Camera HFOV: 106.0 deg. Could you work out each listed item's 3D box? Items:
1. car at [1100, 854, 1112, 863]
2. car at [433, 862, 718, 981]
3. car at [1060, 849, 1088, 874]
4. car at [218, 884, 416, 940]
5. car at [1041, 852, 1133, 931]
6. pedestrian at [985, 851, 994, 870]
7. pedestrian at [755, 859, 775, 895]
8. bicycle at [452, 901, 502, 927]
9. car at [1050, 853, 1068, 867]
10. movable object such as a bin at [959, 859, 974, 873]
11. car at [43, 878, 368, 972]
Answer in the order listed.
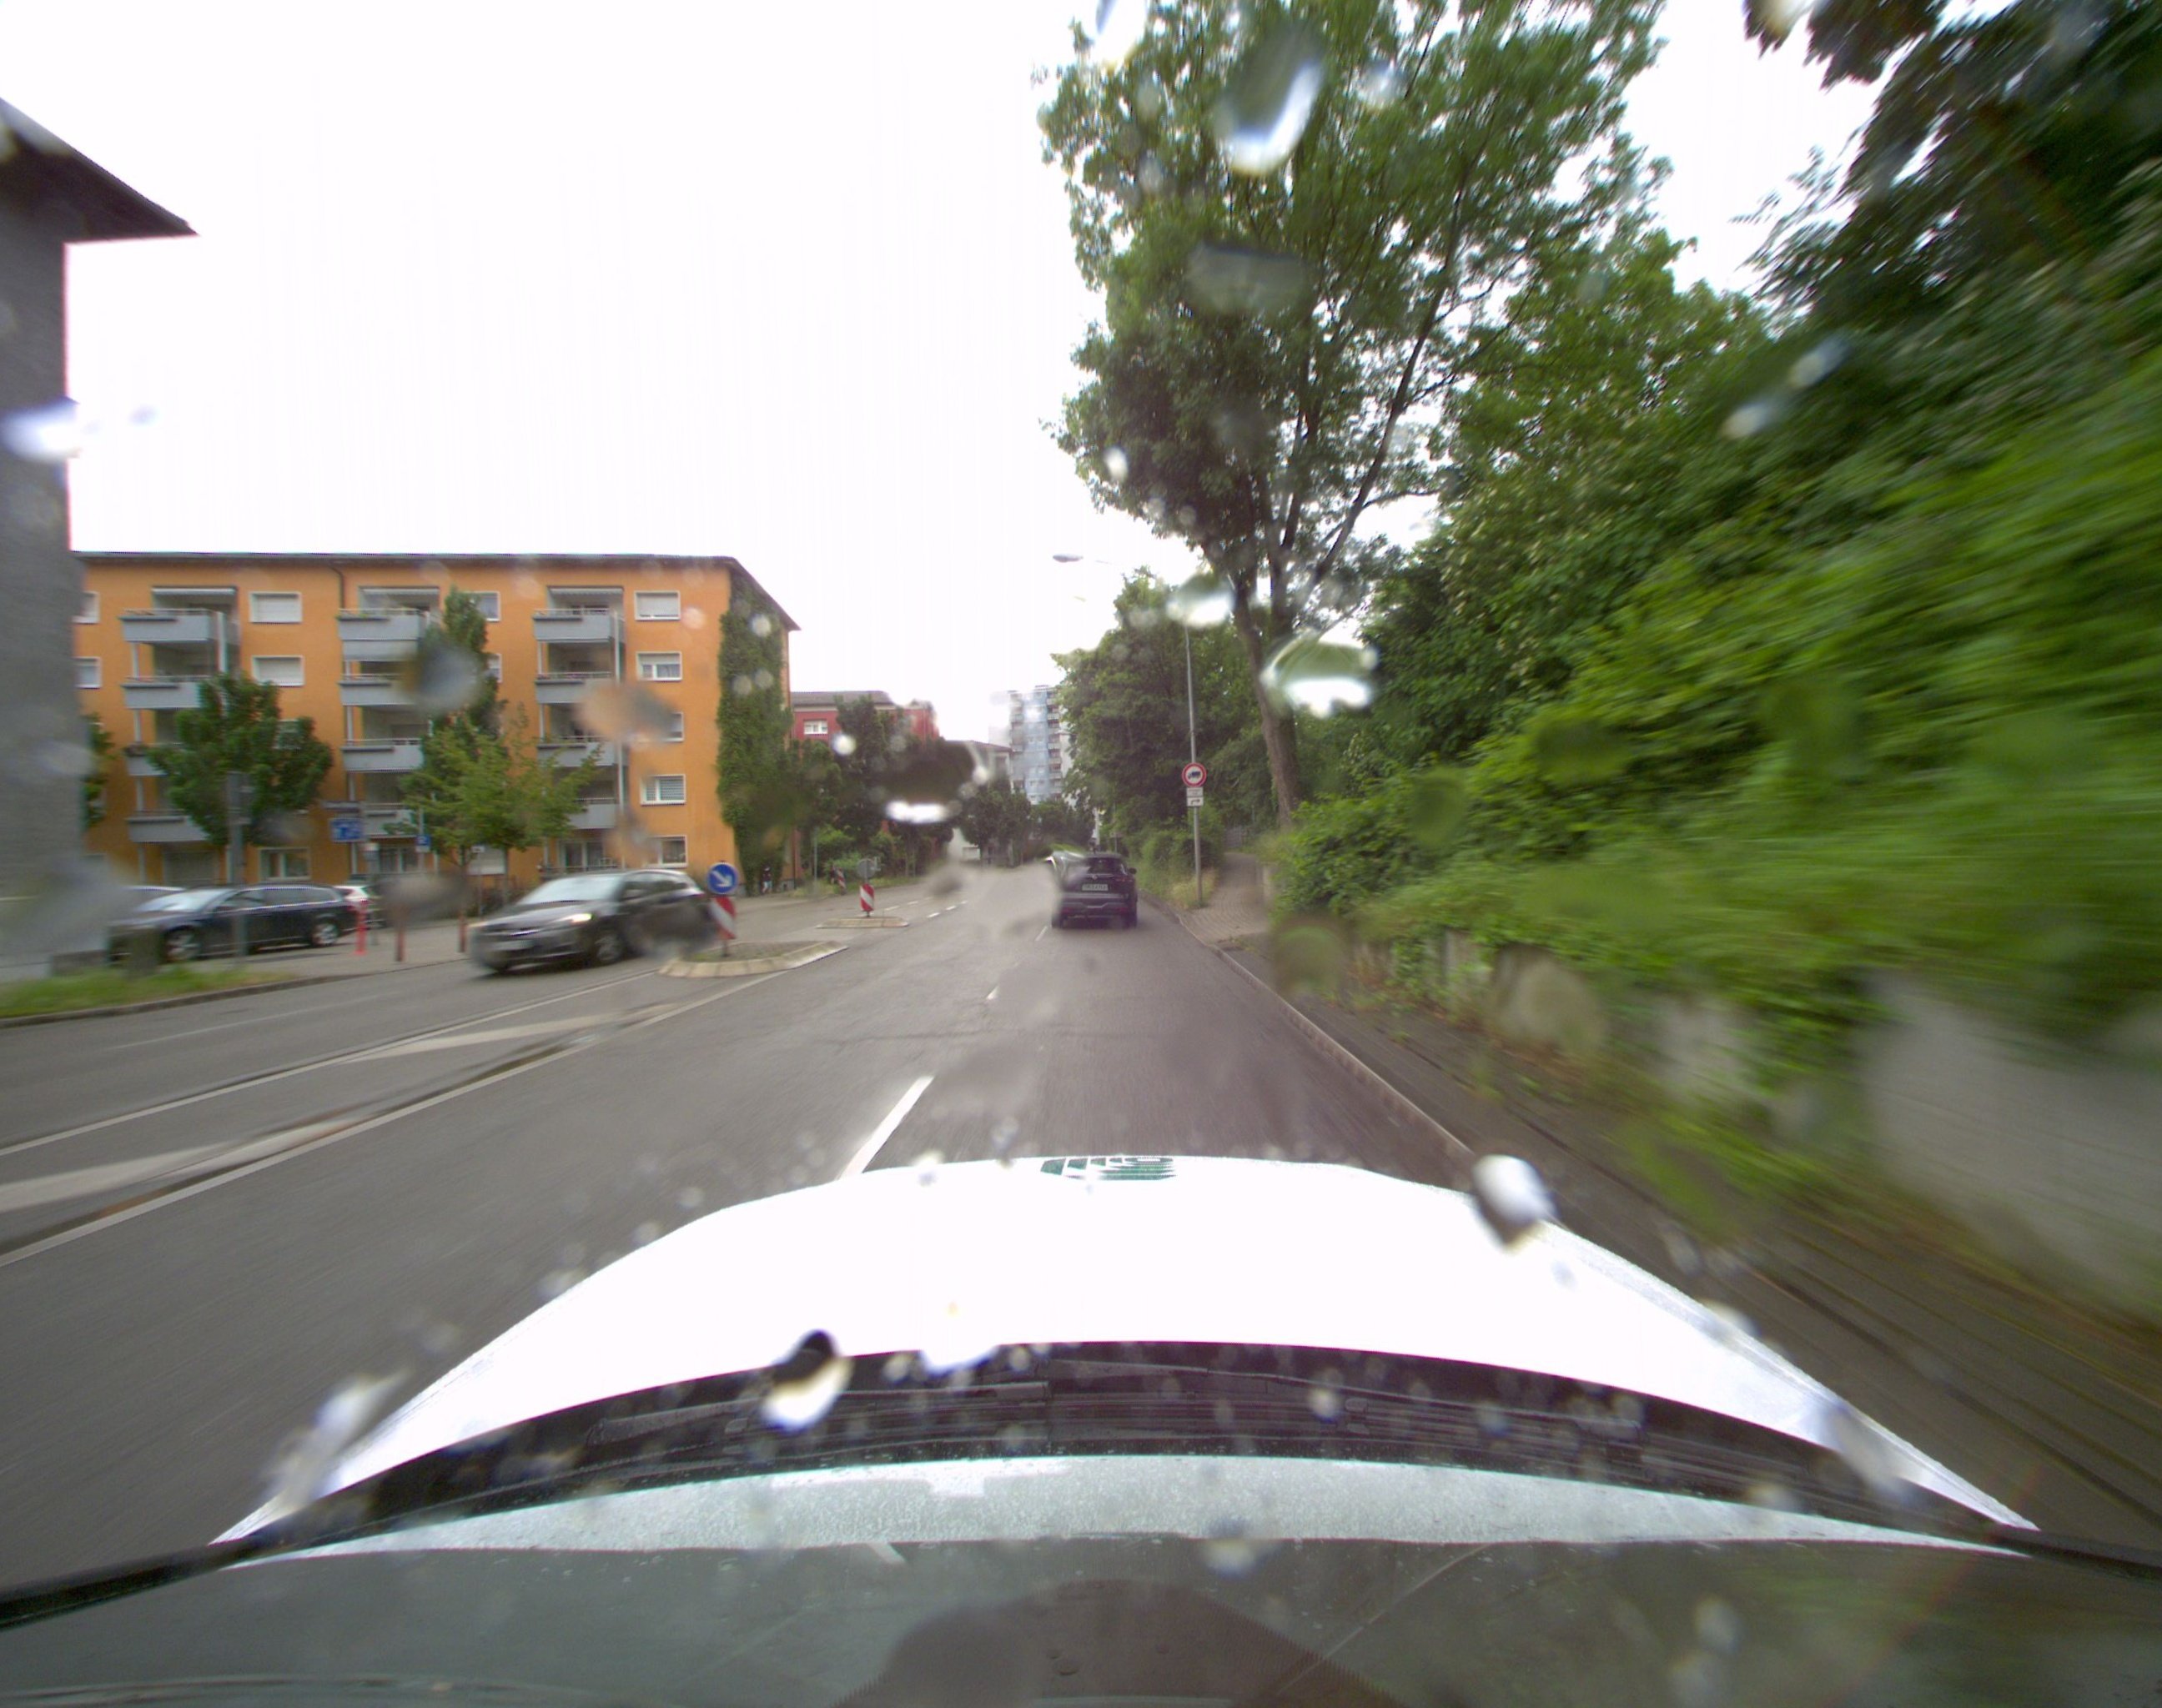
[{"bbox_3d":[4.206,0.760,137.275,1.491,1.348,3.368,-2,0,8],"label":"car"},{"bbox_3d":[-7.951,0.941,13.463,1.783,1.504,4.646,-3,0,-1],"label":"car"},{"bbox_3d":[-0.457,0.542,58.537,1.881,1.711,3.999,-2,-1,0],"label":"car"},{"bbox_3d":[-25.923,1.937,27.790,4.628,1.504,1.875,-3,0,-6],"label":"car"},{"bbox_3d":[0.114,0.761,18.511,1.839,1.582,3.999,-1,0,-1],"label":"car"},{"bbox_3d":[-10.197,0.740,90.601,0.713,2.013,0.950,-2,-1,1],"label":"pedestrian"},{"bbox_3d":[-14.622,1.046,37.700,0.584,1.604,0.661,-3,0,1],"label":"pedestrian"},{"bbox_3d":[-20.062,1.983,27.079,0.462,0.749,1.547,-2,0,2],"label":"bicycle"},{"bbox_3d":[-3.008,0.879,113.490,1.789,1.841,4.009,-2,0,8],"label":"car"},{"bbox_3d":[-12.315,1.278,87.683,1.316,1.361,1.258,-2,0,1],"label":"movable object such as a bin"},{"bbox_3d":[-17.386,1.318,16.575,1.716,1.432,4.414,-3,0,1],"label":"car"}]
